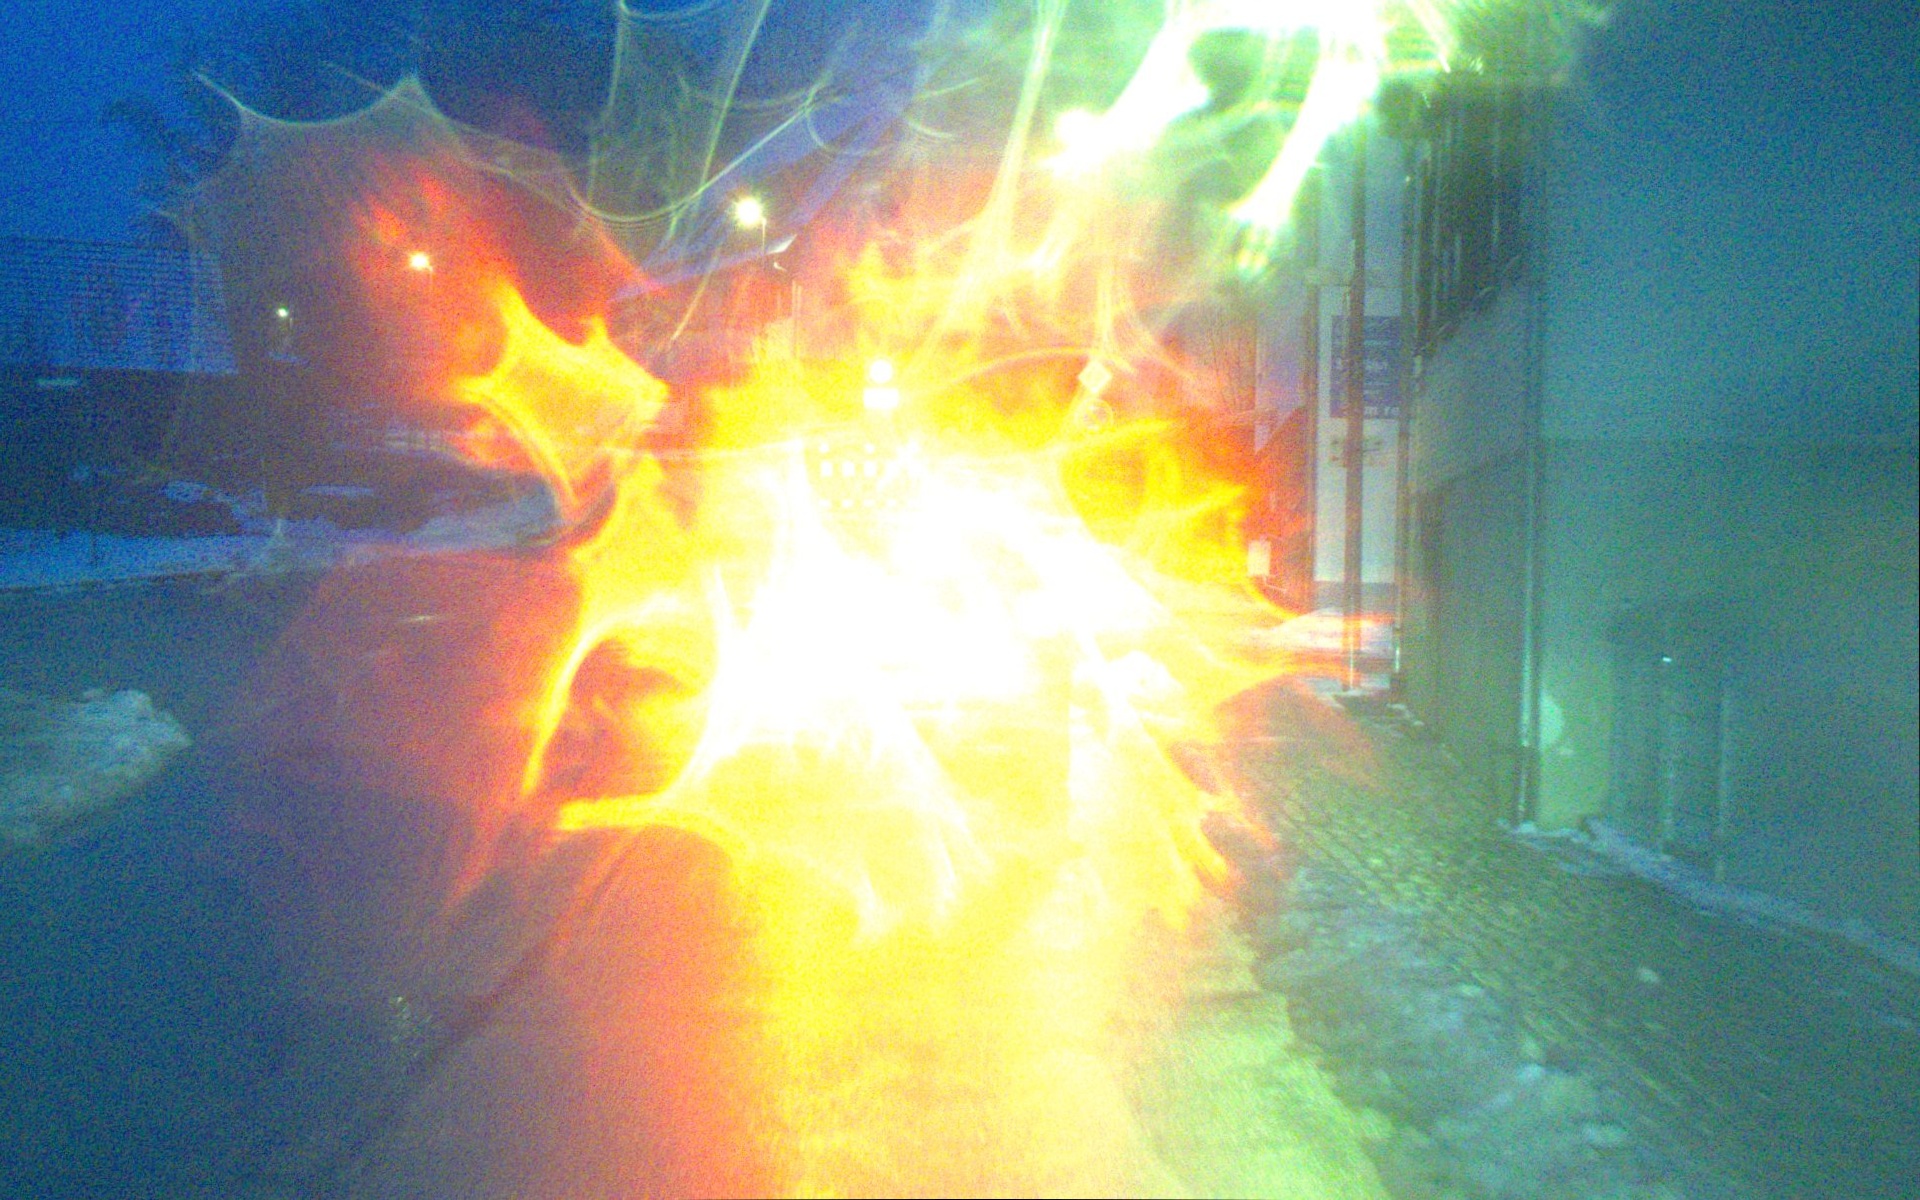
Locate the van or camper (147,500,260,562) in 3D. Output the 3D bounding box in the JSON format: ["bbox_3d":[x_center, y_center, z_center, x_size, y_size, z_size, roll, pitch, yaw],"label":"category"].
[{"bbox_3d":[-14.220,-1.278,64.552,1.282,1.097,3.273,1,0,-26],"label":"van or camper"}]

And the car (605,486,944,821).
[{"bbox_3d":[-1.022,0.233,20.475,1.822,1.790,3.578,-1,2,0],"label":"car"}]
